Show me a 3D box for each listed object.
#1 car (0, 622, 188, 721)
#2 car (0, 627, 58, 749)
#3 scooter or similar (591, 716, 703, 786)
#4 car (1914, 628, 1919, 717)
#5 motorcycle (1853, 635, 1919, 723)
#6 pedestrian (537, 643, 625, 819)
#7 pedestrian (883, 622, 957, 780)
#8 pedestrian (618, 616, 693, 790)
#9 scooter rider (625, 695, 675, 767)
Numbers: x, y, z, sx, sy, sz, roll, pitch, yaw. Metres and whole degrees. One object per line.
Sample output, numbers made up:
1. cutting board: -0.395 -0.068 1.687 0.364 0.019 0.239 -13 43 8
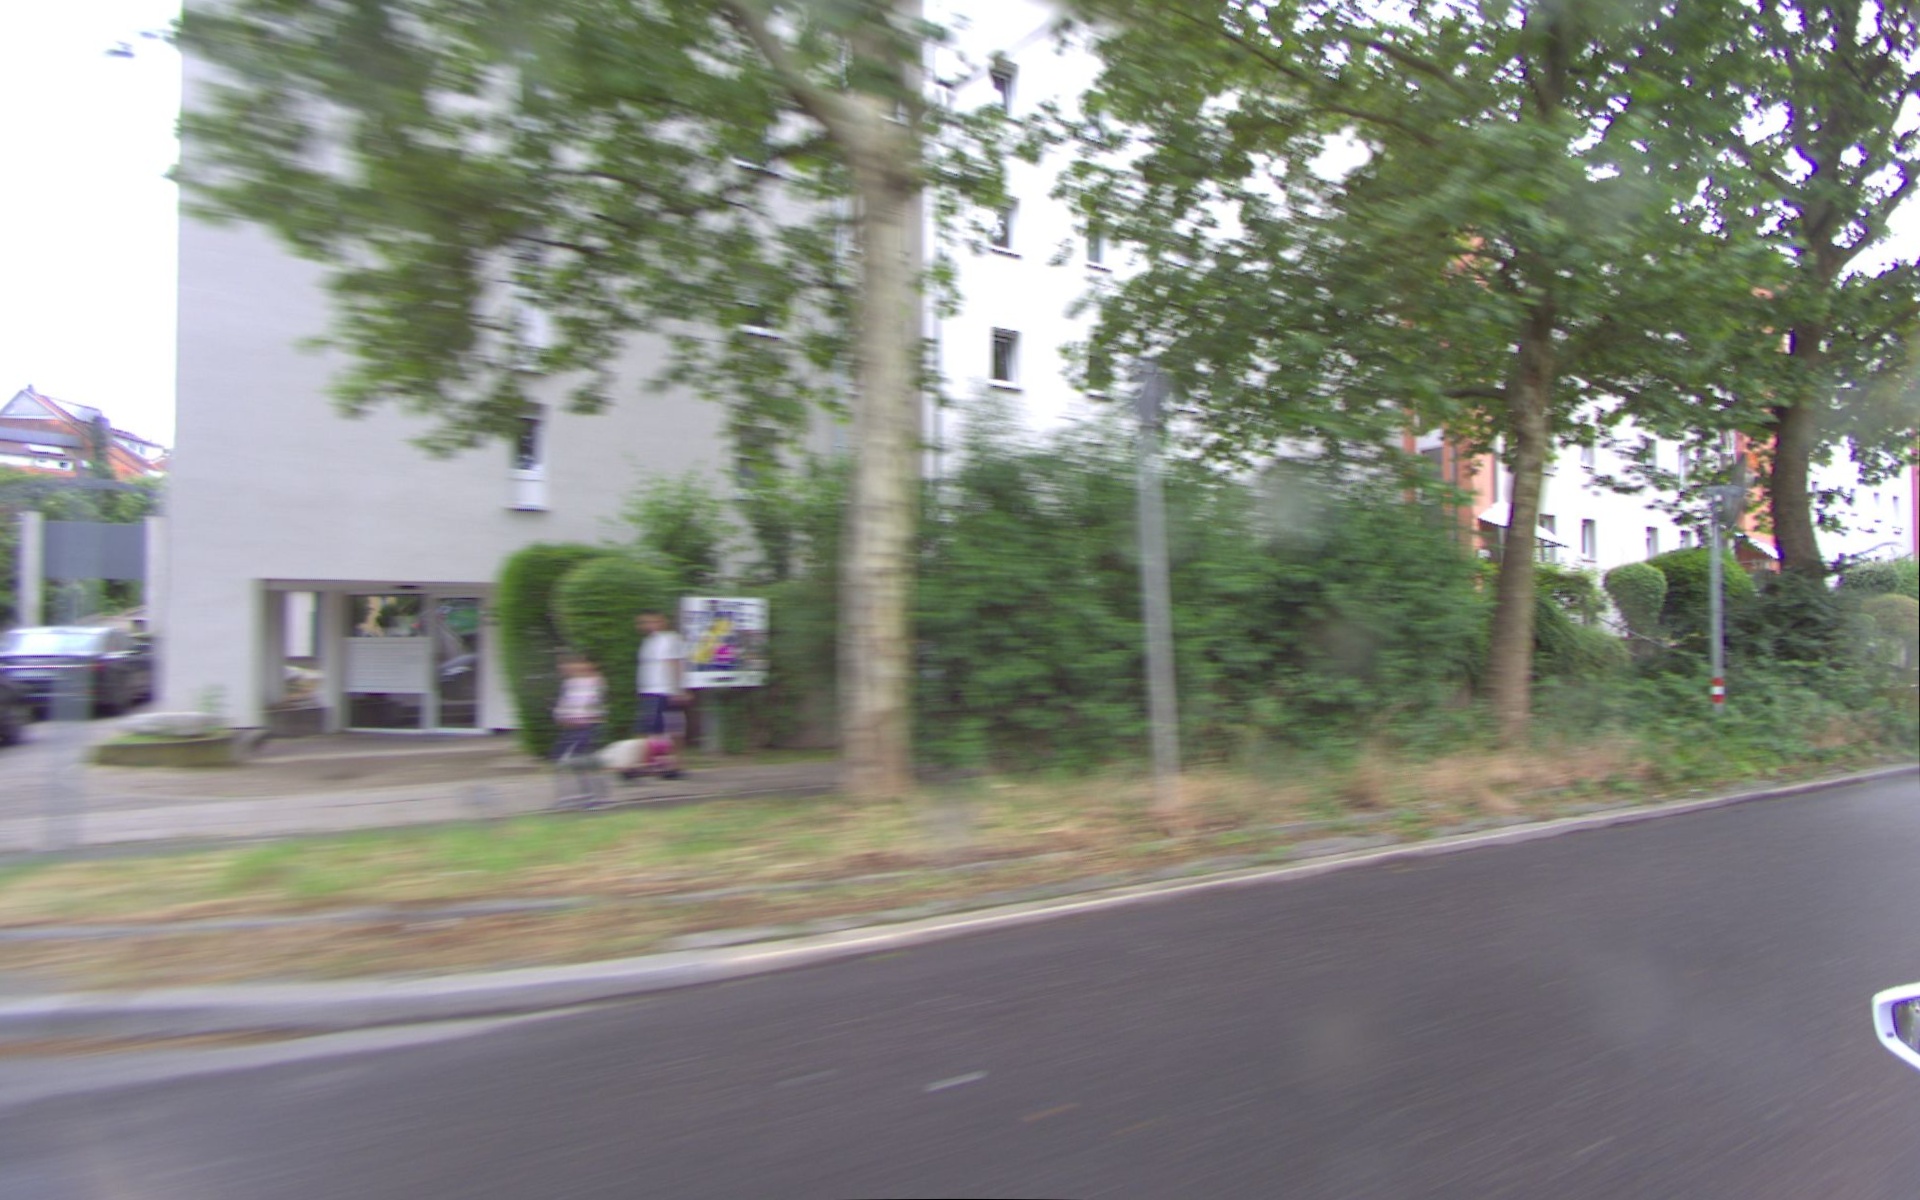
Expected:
1. car: -15.012 1.135 17.199 1.880 1.496 3.978 1 -2 -23
2. car: -12.520 1.057 11.630 1.880 1.496 3.978 1 -2 -23
3. scooter or similar: -3.211 1.535 10.350 1.050 0.603 0.368 2 -3 -43
4. car: 18.986 1.271 17.957 4.751 1.529 1.707 1 -1 -32
5. motorcycle: 15.167 1.221 15.652 0.713 1.358 1.705 1 -3 -29
6. pedestrian: -3.226 1.078 8.545 0.584 1.415 0.592 1 -2 -32
7. pedestrian: -0.438 1.067 10.901 0.584 1.652 0.592 1 -2 -32
8. pedestrian: -3.026 0.995 9.968 0.584 1.652 0.537 1 -2 -32
9. scooter rider: -3.200 1.347 10.372 0.391 0.693 0.325 2 -2 -44
